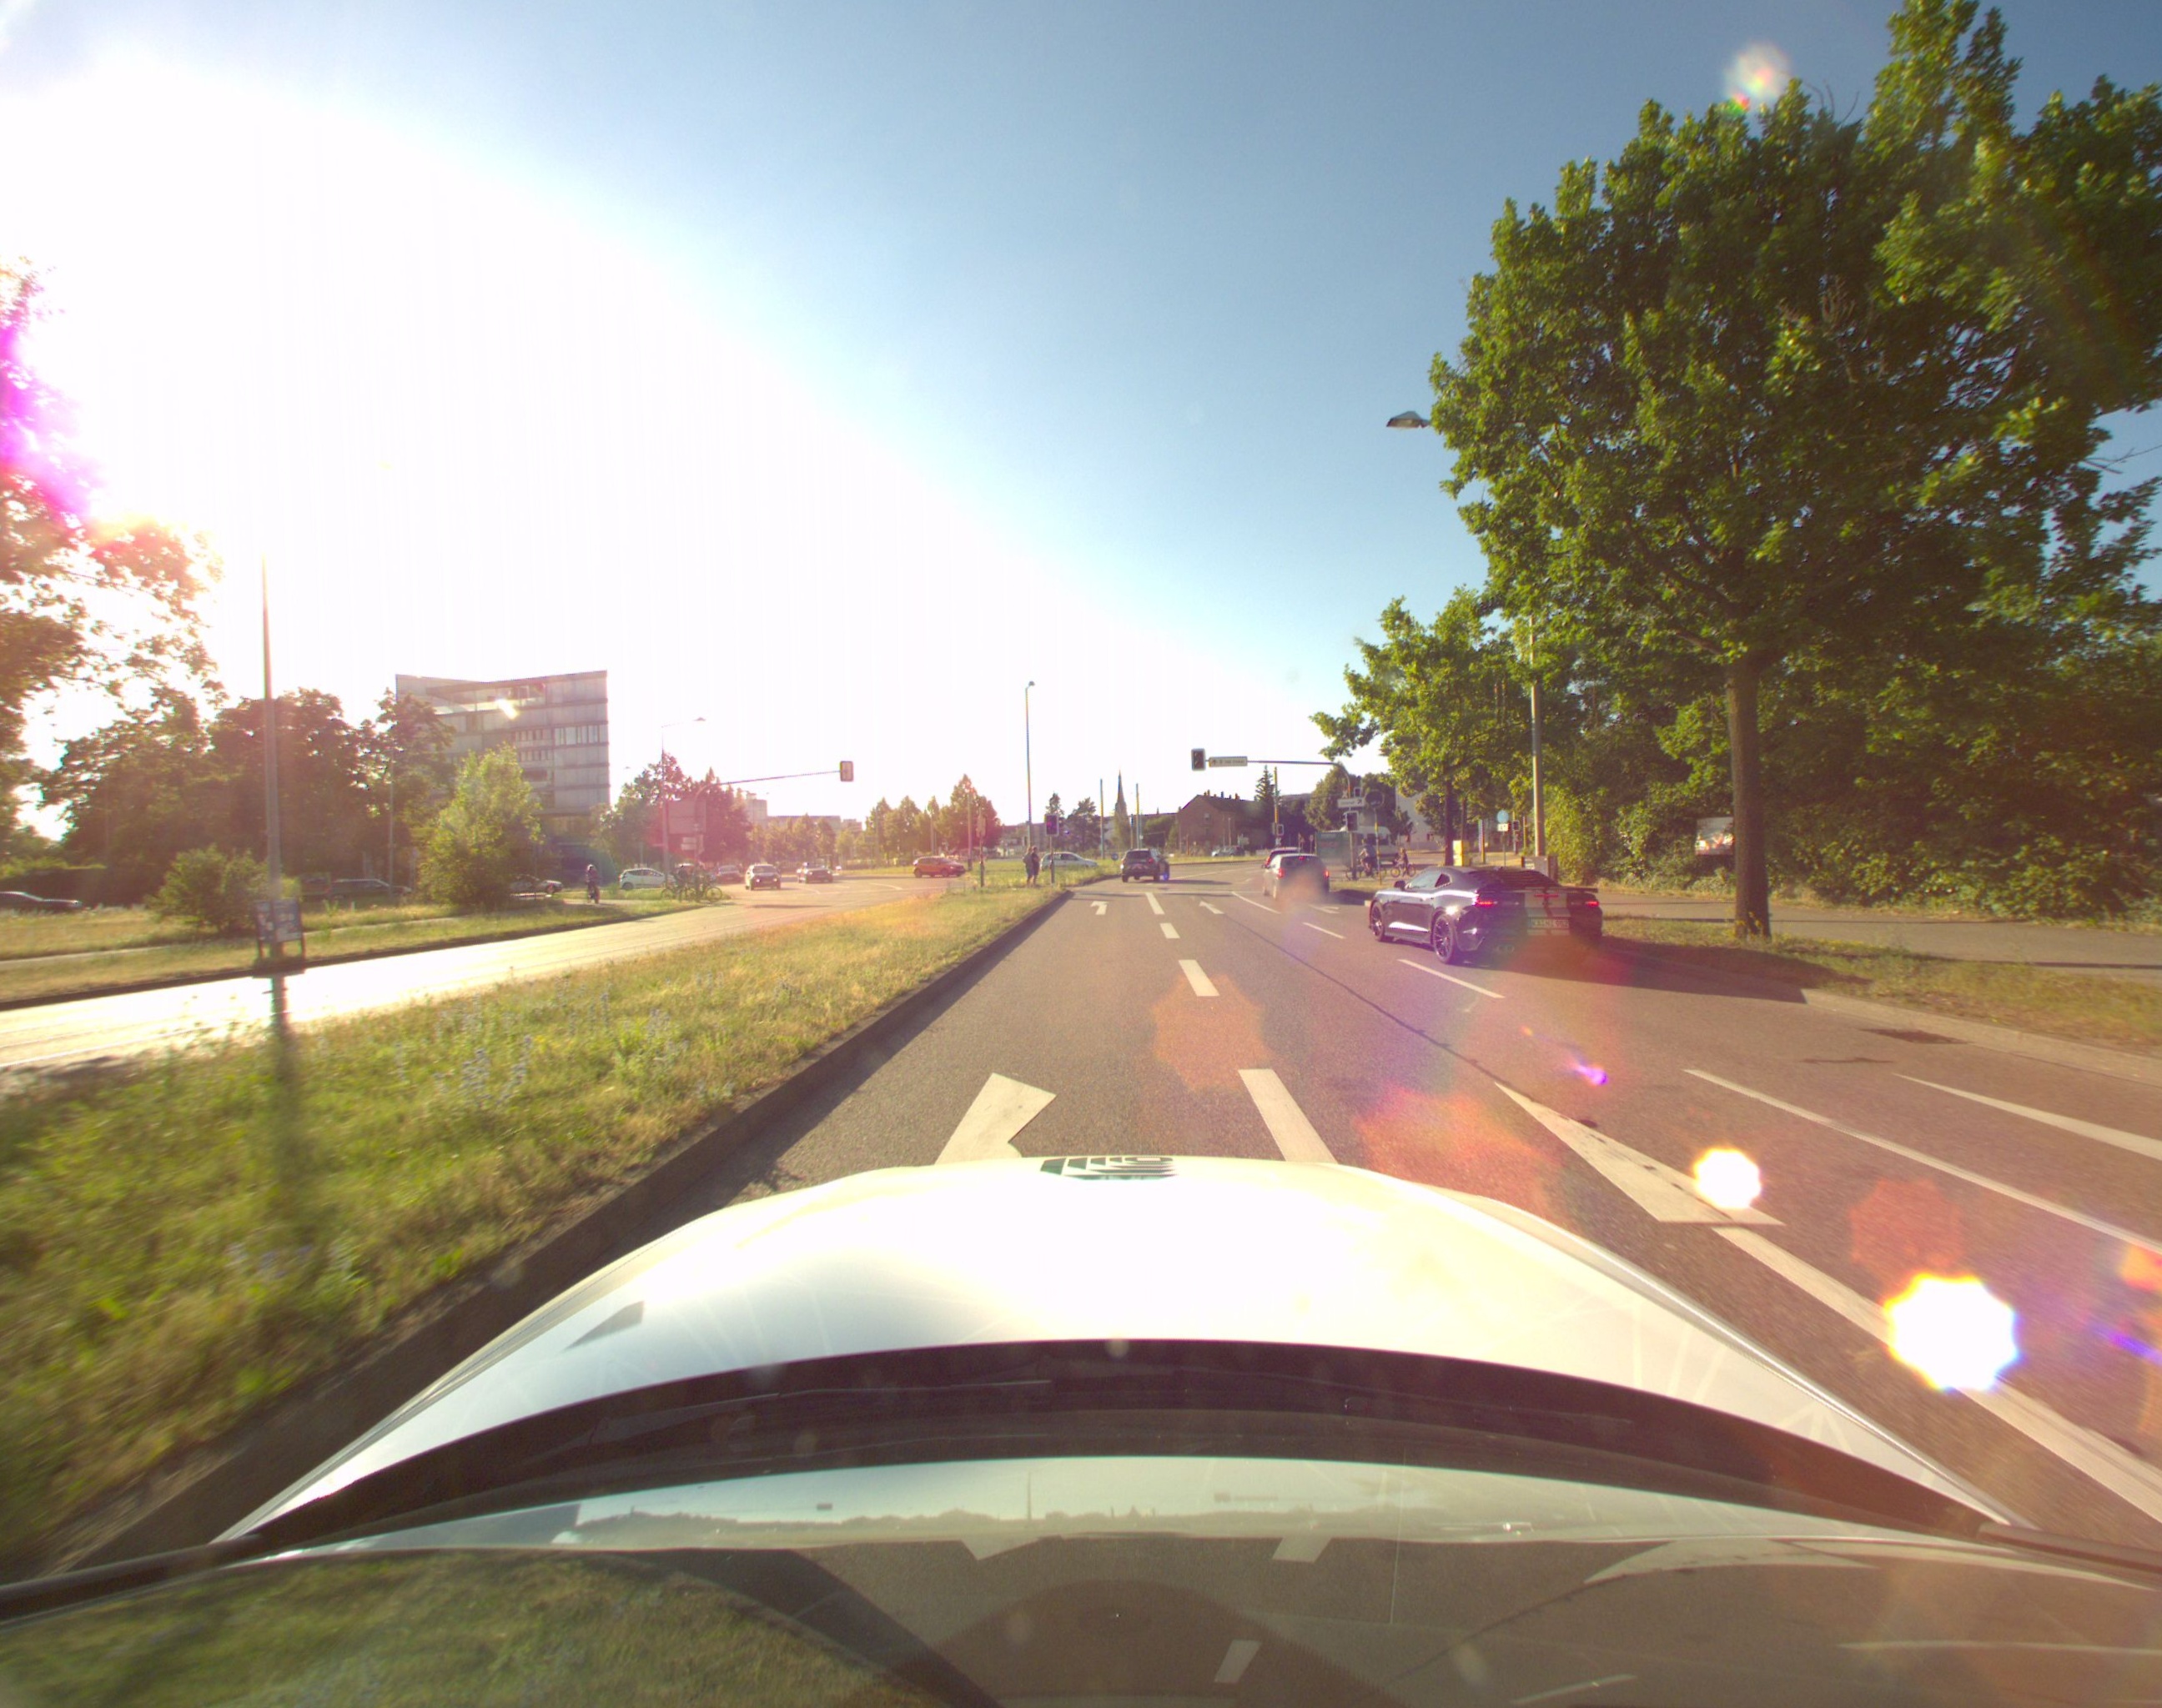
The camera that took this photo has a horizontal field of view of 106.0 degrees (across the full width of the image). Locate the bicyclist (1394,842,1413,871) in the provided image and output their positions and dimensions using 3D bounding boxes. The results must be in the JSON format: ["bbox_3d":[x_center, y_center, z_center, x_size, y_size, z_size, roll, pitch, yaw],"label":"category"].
[{"bbox_3d":[15.080,0.107,38.115,0.650,1.294,0.464,-3,1,-15],"label":"bicyclist"}]

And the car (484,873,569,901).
[{"bbox_3d":[-35.897,2.098,52.772,4.331,1.508,1.853,-2,0,-40],"label":"car"}]

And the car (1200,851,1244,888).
[{"bbox_3d":[6.595,0.696,38.427,1.595,1.610,4.004,-2,0,3],"label":"car"}]

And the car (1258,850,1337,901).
[{"bbox_3d":[6.992,0.653,26.655,1.739,1.473,3.824,-2,0,4],"label":"car"}]

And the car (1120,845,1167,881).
[{"bbox_3d":[3.188,0.411,40.840,1.894,1.660,4.011,-2,0,10],"label":"car"}]

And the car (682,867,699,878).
[{"bbox_3d":[-75.582,3.585,157.625,2.011,2.013,3.952,-2,0,-41],"label":"car"}]

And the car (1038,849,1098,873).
[{"bbox_3d":[-0.871,0.479,54.807,3.725,1.434,1.840,-2,0,9],"label":"car"}]

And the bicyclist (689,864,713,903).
[{"bbox_3d":[-17.528,1.356,37.572,0.808,1.789,0.498,-1,0,10],"label":"bicyclist"}]

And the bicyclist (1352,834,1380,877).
[{"bbox_3d":[12.912,0.062,36.864,0.927,1.899,0.605,-4,-1,39],"label":"bicyclist"}]

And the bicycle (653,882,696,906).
[{"bbox_3d":[-18.143,1.788,36.312,1.893,1.019,0.507,-1,0,18],"label":"bicycle"}]

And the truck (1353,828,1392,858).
[{"bbox_3d":[27.087,-1.007,75.873,2.563,2.558,6.273,-2,0,12],"label":"truck"}]

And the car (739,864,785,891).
[{"bbox_3d":[-19.137,1.394,48.754,1.680,1.441,3.576,-3,0,-36],"label":"car"}]

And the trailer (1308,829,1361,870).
[{"bbox_3d":[15.395,-0.285,49.393,2.070,2.400,3.523,0,0,34],"label":"trailer"}]

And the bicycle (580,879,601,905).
[{"bbox_3d":[-22.528,1.736,37.419,0.728,1.118,1.806,-2,0,-29],"label":"bicycle"}]

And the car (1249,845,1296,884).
[{"bbox_3d":[9.122,0.444,38.599,1.733,1.620,3.839,1,2,20],"label":"car"}]

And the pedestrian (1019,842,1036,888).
[{"bbox_3d":[-2.189,0.445,33.349,0.483,1.844,0.721,-2,0,8],"label":"pedestrian"}]

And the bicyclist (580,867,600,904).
[{"bbox_3d":[-22.467,1.426,37.267,0.712,1.666,0.823,-2,0,-29],"label":"bicyclist"}]

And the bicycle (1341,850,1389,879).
[{"bbox_3d":[12.859,0.478,36.921,1.885,1.244,0.613,-4,-1,39],"label":"bicycle"}]

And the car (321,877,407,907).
[{"bbox_3d":[-42.179,2.186,48.008,3.728,1.508,1.853,-2,0,-40],"label":"car"}]

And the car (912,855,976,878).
[{"bbox_3d":[-9.677,0.856,57.349,4.086,1.444,1.921,-2,0,29],"label":"car"}]

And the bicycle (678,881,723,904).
[{"bbox_3d":[-17.560,1.760,37.572,1.897,1.019,0.506,-1,0,9],"label":"bicycle"}]

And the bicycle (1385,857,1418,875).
[{"bbox_3d":[15.002,0.563,38.092,1.462,0.786,0.437,-3,0,-15],"label":"bicycle"}]

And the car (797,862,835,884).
[{"bbox_3d":[-18.482,1.291,56.660,1.677,1.376,4.110,-3,0,-29],"label":"car"}]

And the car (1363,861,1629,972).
[{"bbox_3d":[5.913,0.787,12.348,1.847,1.338,4.628,0,0,2],"label":"car"}]

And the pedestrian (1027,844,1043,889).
[{"bbox_3d":[-1.933,0.514,34.284,0.483,1.844,0.673,-2,0,6],"label":"pedestrian"}]

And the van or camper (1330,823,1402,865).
[{"bbox_3d":[19.076,-0.659,54.253,2.263,2.629,6.624,-1,0,40],"label":"van or camper"}]

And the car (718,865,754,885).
[{"bbox_3d":[-27.122,1.641,63.900,1.680,1.376,3.736,-3,1,-37],"label":"car"}]

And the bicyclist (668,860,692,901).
[{"bbox_3d":[-17.847,1.165,36.223,0.806,1.770,0.498,-1,0,18],"label":"bicyclist"}]

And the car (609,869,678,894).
[{"bbox_3d":[-30.114,1.881,56.171,3.983,1.508,1.833,-2,0,-25],"label":"car"}]
